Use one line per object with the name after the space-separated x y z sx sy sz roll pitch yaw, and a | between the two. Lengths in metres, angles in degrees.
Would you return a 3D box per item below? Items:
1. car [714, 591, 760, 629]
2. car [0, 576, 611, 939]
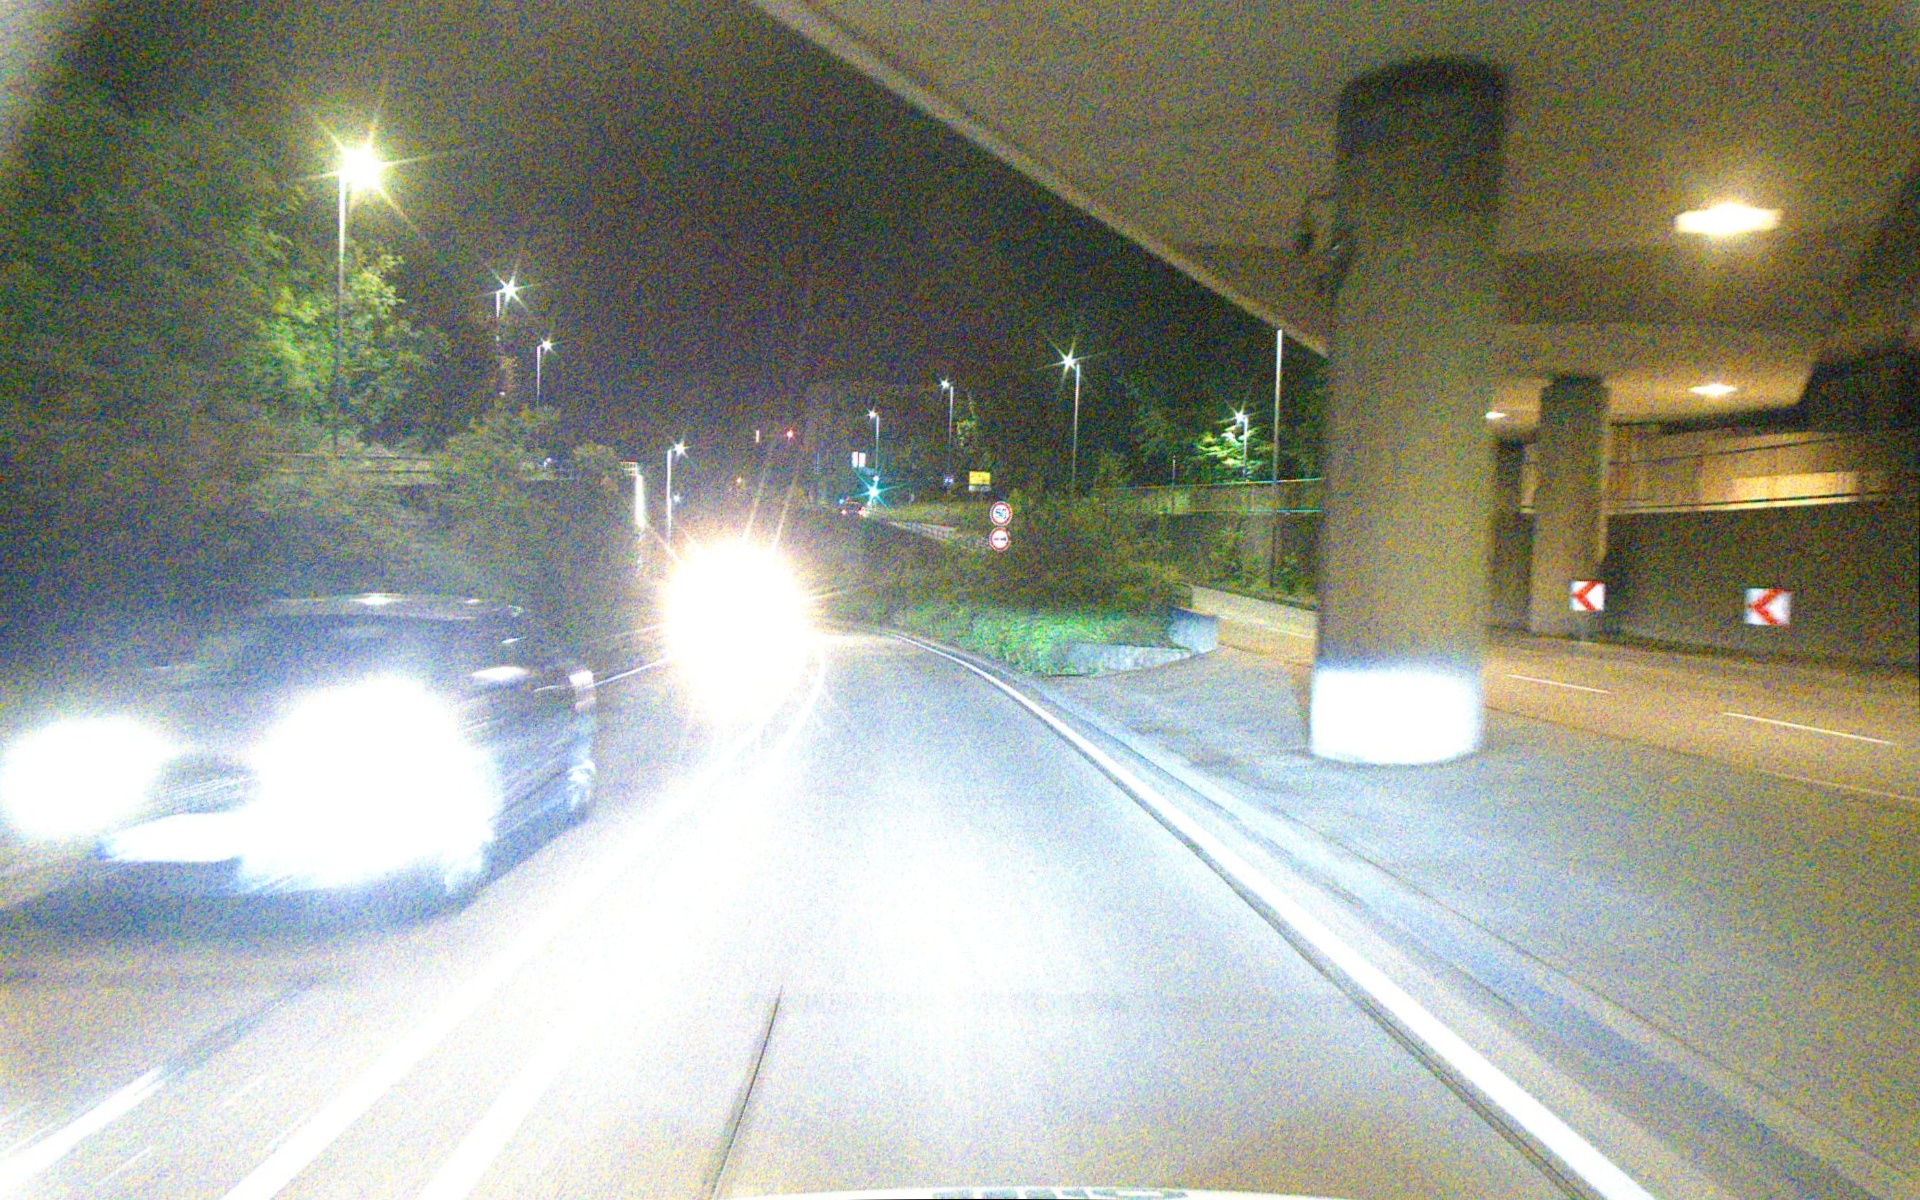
-9.292 0.415 69.105 1.823 1.536 3.994 0 0 -6 | car
-3.184 0.691 9.021 1.752 1.473 4.170 2 -1 -2 | car
